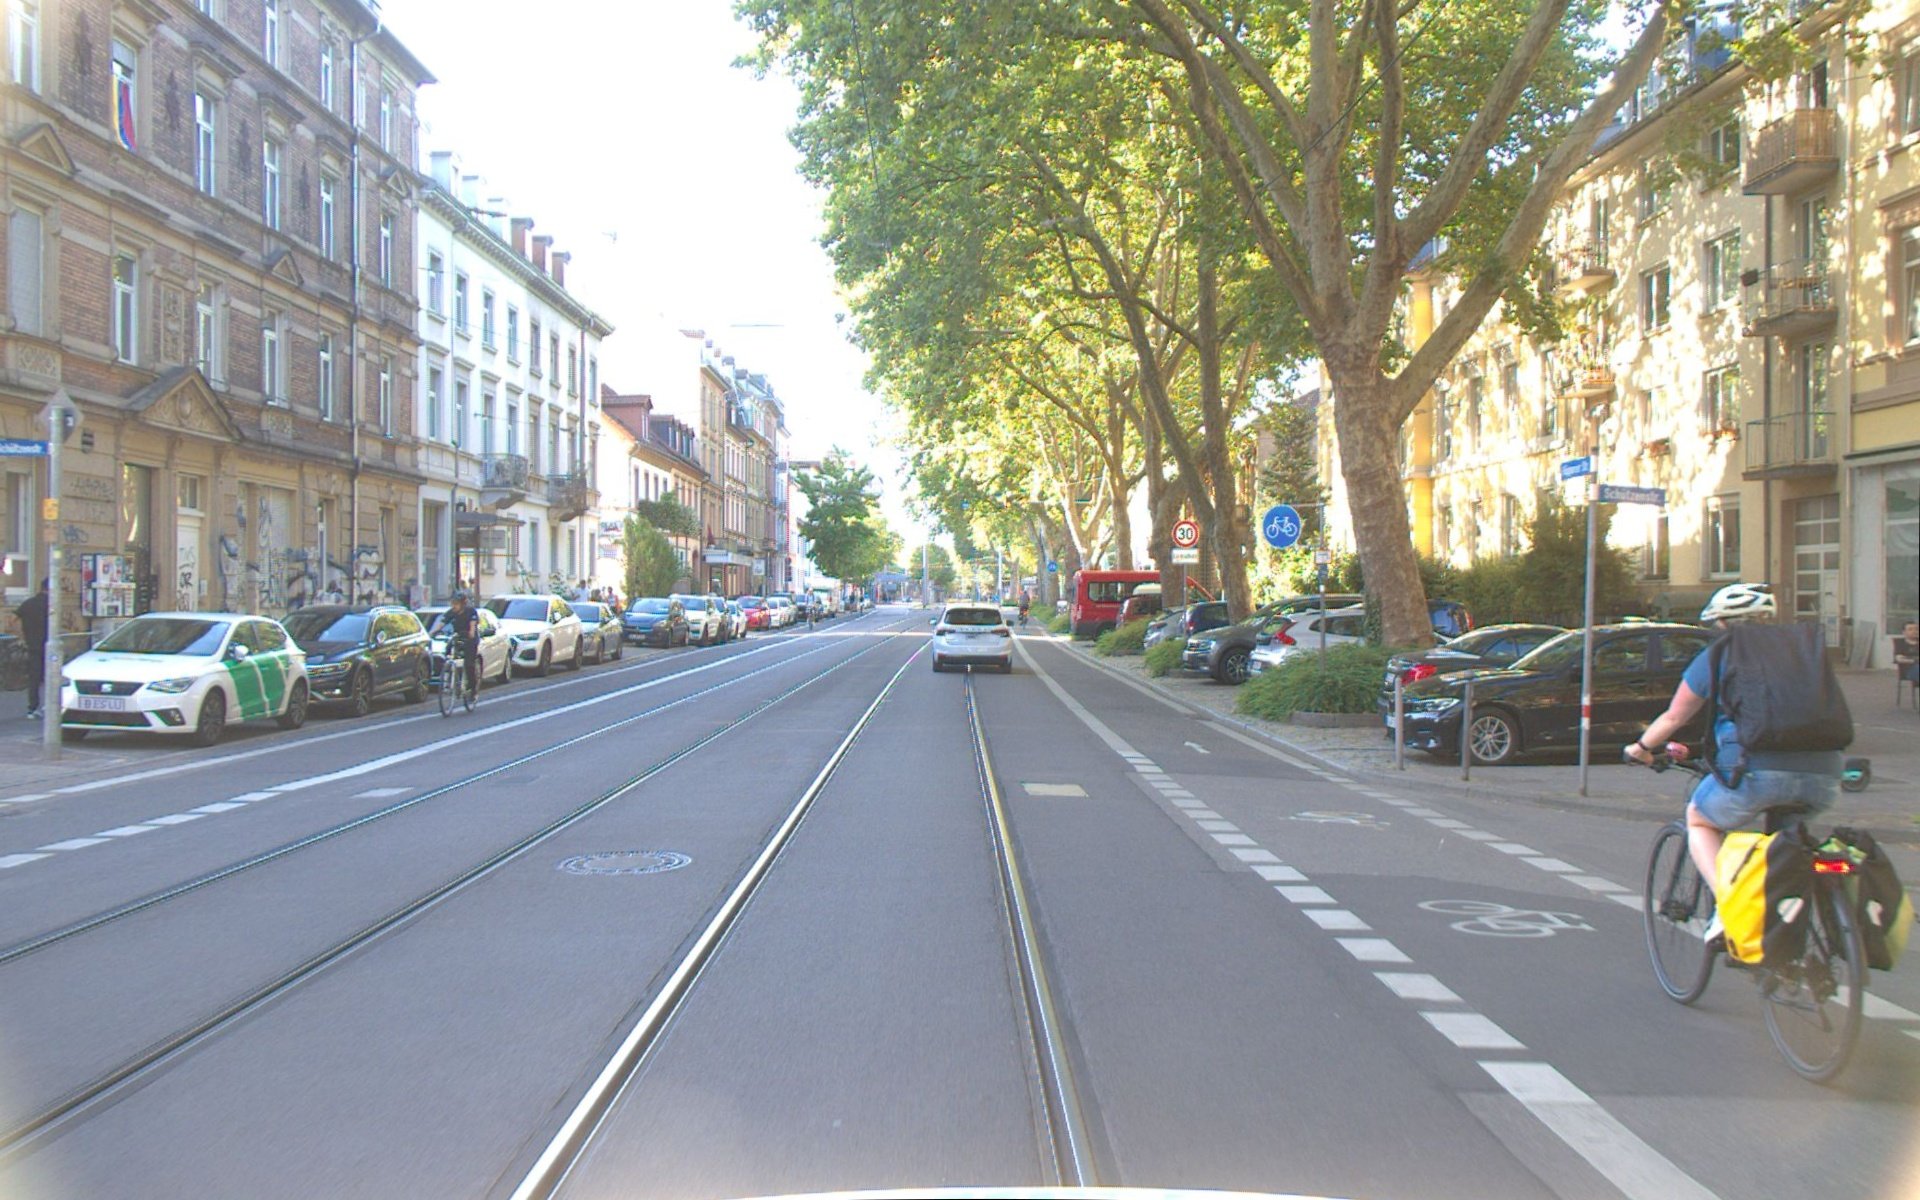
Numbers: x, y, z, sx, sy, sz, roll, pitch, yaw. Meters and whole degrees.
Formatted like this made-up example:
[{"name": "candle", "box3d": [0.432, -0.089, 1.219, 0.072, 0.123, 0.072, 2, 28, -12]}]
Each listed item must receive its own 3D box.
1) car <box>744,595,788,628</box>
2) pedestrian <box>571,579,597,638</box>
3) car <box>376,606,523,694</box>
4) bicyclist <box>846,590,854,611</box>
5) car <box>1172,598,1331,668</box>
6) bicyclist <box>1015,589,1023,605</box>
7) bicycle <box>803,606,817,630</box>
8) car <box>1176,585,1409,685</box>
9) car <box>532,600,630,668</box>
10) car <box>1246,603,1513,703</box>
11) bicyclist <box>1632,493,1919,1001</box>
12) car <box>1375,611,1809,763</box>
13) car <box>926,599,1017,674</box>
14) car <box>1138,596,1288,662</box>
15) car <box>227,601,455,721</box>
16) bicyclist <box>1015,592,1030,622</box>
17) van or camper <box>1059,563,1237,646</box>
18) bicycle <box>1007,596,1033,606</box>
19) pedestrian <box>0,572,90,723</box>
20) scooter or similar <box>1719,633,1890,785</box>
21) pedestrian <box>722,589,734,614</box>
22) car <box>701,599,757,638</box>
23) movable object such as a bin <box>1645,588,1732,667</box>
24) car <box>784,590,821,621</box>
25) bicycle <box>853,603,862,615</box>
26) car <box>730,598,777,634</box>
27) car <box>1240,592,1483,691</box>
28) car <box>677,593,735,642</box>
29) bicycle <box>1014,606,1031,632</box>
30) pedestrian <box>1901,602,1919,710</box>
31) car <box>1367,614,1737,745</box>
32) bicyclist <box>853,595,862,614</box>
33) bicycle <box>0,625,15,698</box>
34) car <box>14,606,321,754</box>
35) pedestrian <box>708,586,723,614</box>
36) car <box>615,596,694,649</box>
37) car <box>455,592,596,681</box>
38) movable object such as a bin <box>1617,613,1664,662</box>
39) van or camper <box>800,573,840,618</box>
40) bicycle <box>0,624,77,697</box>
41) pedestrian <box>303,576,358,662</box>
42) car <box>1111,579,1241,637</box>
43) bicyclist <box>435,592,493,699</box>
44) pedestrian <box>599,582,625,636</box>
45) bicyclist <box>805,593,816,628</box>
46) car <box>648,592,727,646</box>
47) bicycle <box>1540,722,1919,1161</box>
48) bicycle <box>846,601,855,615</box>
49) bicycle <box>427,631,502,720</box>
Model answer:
[{"name": "car", "box3d": [-9.615, 0.562, 82.295, 1.790, 1.529, 4.686, 1, 0, -2]}, {"name": "pedestrian", "box3d": [-12.948, 0.290, 57.008, 0.744, 2.049, 0.829, 0, 0, -2]}, {"name": "car", "box3d": [-9.212, 0.866, 30.154, 1.666, 1.445, 3.996, 1, 0, -4]}, {"name": "bicyclist", "box3d": [-8.661, 0.028, 130.372, 0.524, 1.663, 0.897, -2, 0, 2]}, {"name": "car", "box3d": [6.954, 0.774, 39.656, 3.521, 1.627, 1.541, 0, -1, 0]}, {"name": "bicyclist", "box3d": [6.230, -0.318, 175.298, 0.721, 1.617, 0.587, 0, 0, 12]}, {"name": "bicycle", "box3d": [-7.077, 0.831, 78.059, 0.471, 1.105, 1.846, 0, 0, 1]}, {"name": "car", "box3d": [6.546, 0.668, 32.867, 4.177, 1.749, 1.848, -3, 0, -3]}, {"name": "car", "box3d": [-9.321, 0.800, 40.947, 1.629, 1.547, 4.062, 1, 0, -2]}, {"name": "car", "box3d": [6.840, 0.846, 27.200, 3.946, 1.506, 1.681, -1, 0, -2]}, {"name": "bicyclist", "box3d": [2.880, 0.469, 5.741, 0.602, 1.579, 0.935, 4, 0, 0]}, {"name": "car", "box3d": [6.739, 0.894, 17.909, 4.014, 1.517, 1.830, 0, 0, -3]}, {"name": "car", "box3d": [0.196, 0.756, 36.037, 1.805, 1.506, 3.836, 1, 0, -2]}, {"name": "car", "box3d": [6.409, 0.730, 42.132, 3.522, 1.544, 1.693, -2, 0, 0]}, {"name": "car", "box3d": [-9.164, 0.832, 24.942, 1.705, 1.589, 4.785, 1, 0, -1]}, {"name": "bicyclist", "box3d": [2.904, 0.319, 76.743, 0.665, 1.362, 0.525, 1, 0, 0]}, {"name": "van or camper", "box3d": [6.379, 0.123, 56.463, 5.698, 2.563, 2.287, -2, 1, -2]}, {"name": "bicycle", "box3d": [6.357, 0.067, 175.268, 2.711, 1.017, 0.593, 1, 0, 15]}, {"name": "pedestrian", "box3d": [-11.482, 0.577, 20.732, 0.671, 1.832, 1.055, 1, 0, -9]}, {"name": "scooter or similar", "box3d": [7.310, 0.928, 14.349, 1.279, 1.278, 0.341, 0, 0, 13]}, {"name": "pedestrian", "box3d": [-13.947, 0.105, 99.418, 0.625, 1.486, 0.654, 1, 0, -16]}, {"name": "car", "box3d": [-9.294, 0.719, 66.741, 1.652, 1.502, 4.257, 1, 0, 0]}, {"name": "movable object such as a bin", "box3d": [13.911, 0.512, 31.625, 1.143, 1.462, 1.117, -2, 0, 0]}, {"name": "car", "box3d": [-9.870, 0.326, 103.832, 1.925, 1.812, 4.936, 3, 0, -2]}, {"name": "bicycle", "box3d": [-8.480, 0.704, 136.867, 0.488, 0.959, 1.922, -2, 0, 2]}, {"name": "car", "box3d": [-9.561, 0.714, 76.803, 1.536, 1.590, 3.450, 0, 0, 4]}, {"name": "car", "box3d": [7.193, 0.726, 29.838, 3.946, 1.672, 1.681, -1, 0, -2]}, {"name": "car", "box3d": [-9.361, 0.604, 61.223, 1.820, 1.733, 4.654, 0, 0, -5]}, {"name": "bicycle", "box3d": [2.876, 0.868, 76.601, 0.666, 1.175, 2.964, 1, 0, 0]}, {"name": "pedestrian", "box3d": [12.673, 0.723, 21.797, 0.476, 1.399, 1.054, 0, 0, 30]}, {"name": "car", "box3d": [7.216, 0.946, 20.462, 4.010, 1.517, 1.682, 0, 0, 4]}, {"name": "bicyclist", "box3d": [-8.474, 0.348, 136.810, 0.625, 1.529, 1.070, -1, 0, 1]}, {"name": "bicycle", "box3d": [-14.129, 0.906, 23.560, 0.365, 1.052, 1.847, 0, 0, -3]}, {"name": "car", "box3d": [-9.138, 0.853, 19.475, 1.705, 1.518, 4.044, 1, 0, -1]}, {"name": "pedestrian", "box3d": [-14.650, 0.001, 99.179, 0.759, 1.662, 0.654, 1, 0, -16]}, {"name": "car", "box3d": [-9.312, 0.658, 50.683, 1.521, 1.542, 3.925, 0, 0, 2]}, {"name": "car", "box3d": [-9.244, 0.738, 35.580, 1.750, 1.753, 4.718, 1, 0, 0]}, {"name": "movable object such as a bin", "box3d": [13.784, 0.754, 33.494, 0.732, 0.959, 0.465, -2, 0, 0]}, {"name": "van or camper", "box3d": [-10.310, -0.362, 122.320, 2.171, 3.195, 7.115, 1, 0, 2]}, {"name": "bicycle", "box3d": [-14.227, 0.910, 25.453, 0.365, 1.052, 1.847, 0, 0, -3]}, {"name": "pedestrian", "box3d": [-12.665, 0.378, 33.297, 0.650, 1.694, 0.767, 1, 0, 31]}, {"name": "car", "box3d": [6.752, 0.256, 51.902, 3.742, 1.678, 1.766, -2, -1, -3]}, {"name": "bicyclist", "box3d": [-7.099, 0.642, 23.713, 0.570, 1.508, 0.807, -1, 0, -1]}, {"name": "pedestrian", "box3d": [-11.955, 0.299, 56.857, 0.744, 1.853, 0.829, 0, 0, -3]}, {"name": "bicyclist", "box3d": [-7.072, 0.496, 78.197, 0.463, 1.664, 0.800, 0, 0, 1]}, {"name": "car", "box3d": [-9.132, 0.607, 55.737, 1.818, 1.733, 4.763, 0, 0, 1]}, {"name": "bicycle", "box3d": [2.813, 1.053, 5.867, 0.583, 1.022, 2.511, 3, 0, 0]}, {"name": "bicycle", "box3d": [-8.647, 0.659, 130.367, 0.474, 1.065, 2.040, -2, 0, 2]}, {"name": "bicycle", "box3d": [-7.054, 1.046, 23.633, 0.412, 1.170, 2.231, -1, 0, -1]}]
